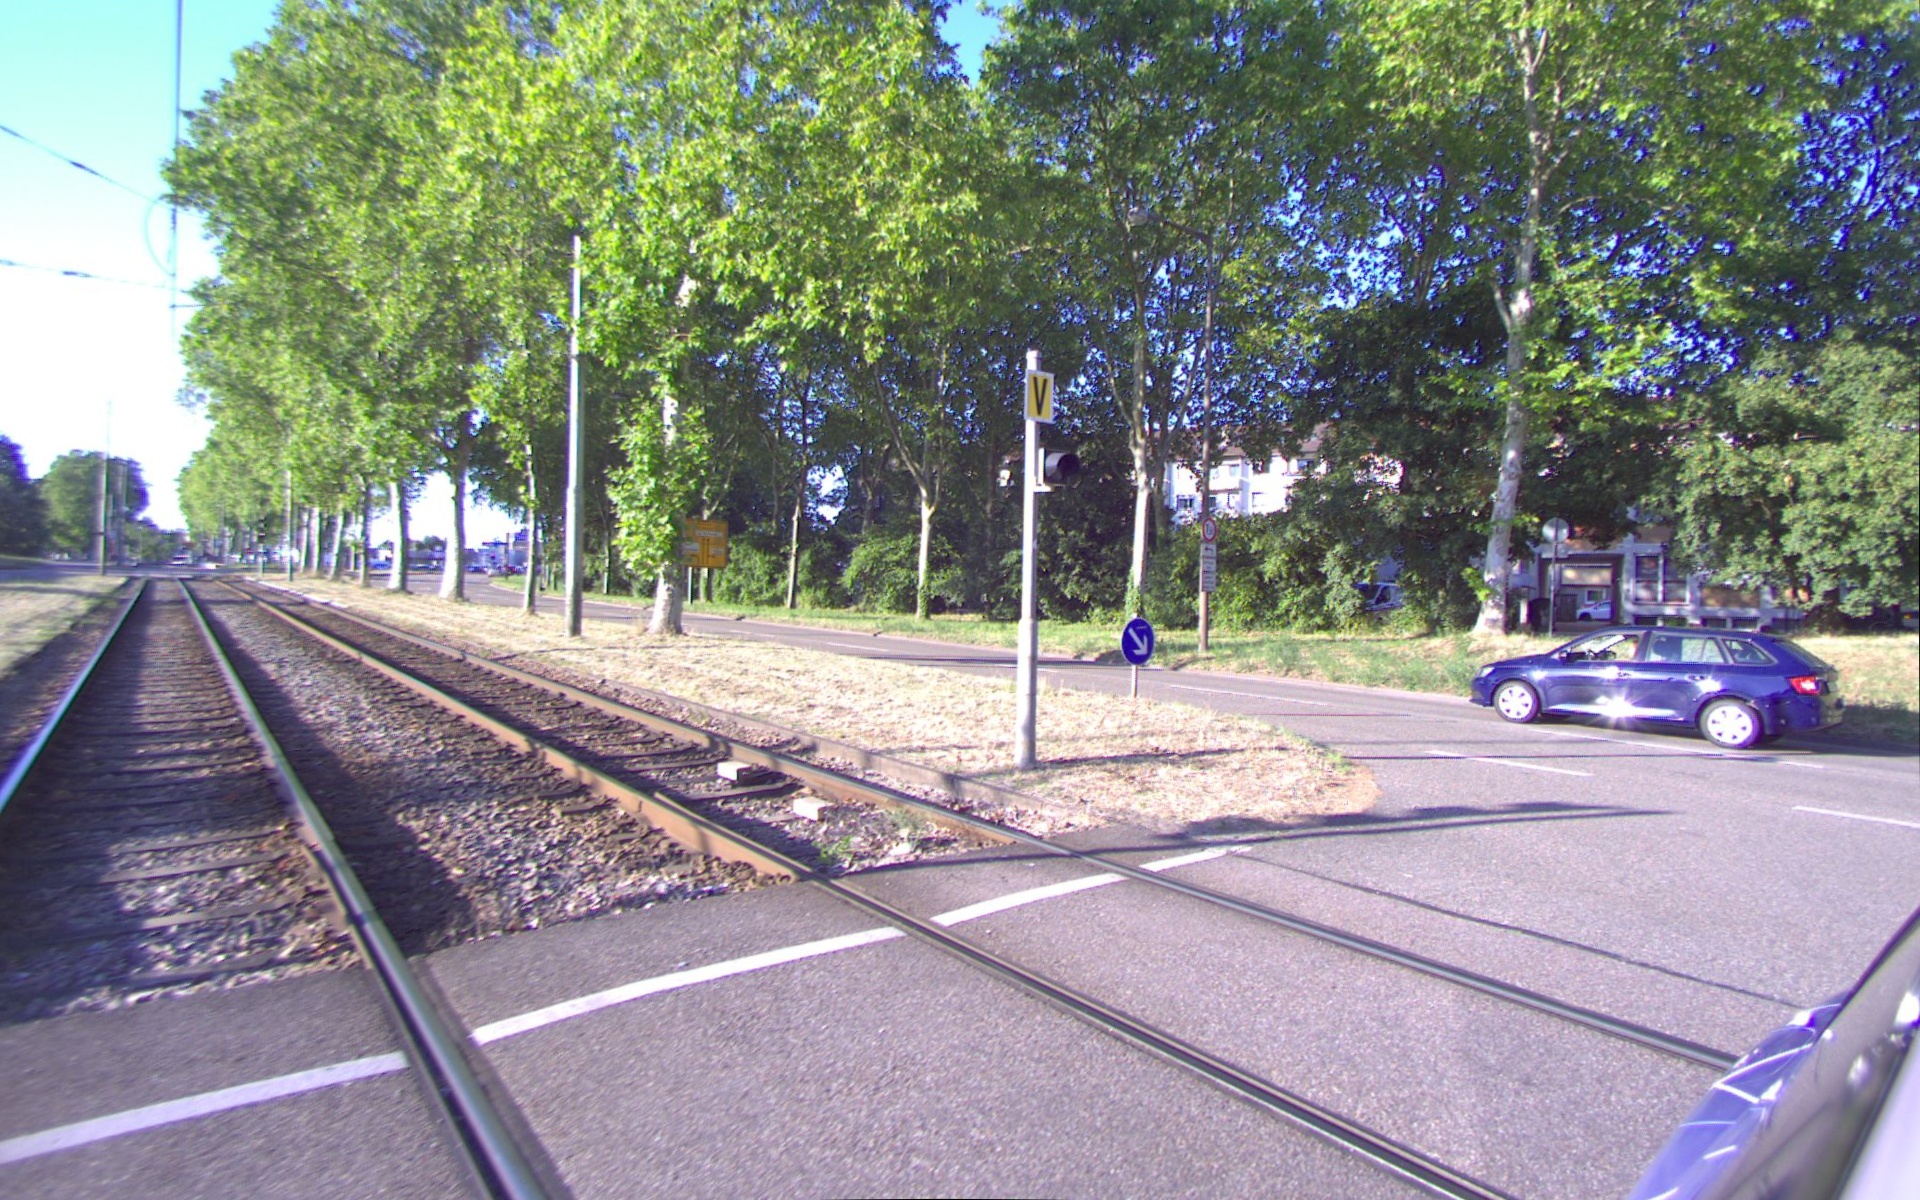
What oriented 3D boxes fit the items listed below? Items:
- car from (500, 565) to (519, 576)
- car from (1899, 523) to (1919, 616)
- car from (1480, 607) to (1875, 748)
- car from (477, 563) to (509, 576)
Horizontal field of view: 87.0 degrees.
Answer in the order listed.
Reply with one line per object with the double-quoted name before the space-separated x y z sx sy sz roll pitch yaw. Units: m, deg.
"car" -60.062 -3.931 134.984 1.958 1.458 4.009 2 0 -18
"car" 28.295 -0.763 26.144 1.771 2.545 5.631 2 0 -34
"car" 9.343 0.900 13.471 1.600 1.460 3.982 2 0 -38
"car" -57.676 -3.753 124.962 1.964 1.460 3.997 2 0 3
